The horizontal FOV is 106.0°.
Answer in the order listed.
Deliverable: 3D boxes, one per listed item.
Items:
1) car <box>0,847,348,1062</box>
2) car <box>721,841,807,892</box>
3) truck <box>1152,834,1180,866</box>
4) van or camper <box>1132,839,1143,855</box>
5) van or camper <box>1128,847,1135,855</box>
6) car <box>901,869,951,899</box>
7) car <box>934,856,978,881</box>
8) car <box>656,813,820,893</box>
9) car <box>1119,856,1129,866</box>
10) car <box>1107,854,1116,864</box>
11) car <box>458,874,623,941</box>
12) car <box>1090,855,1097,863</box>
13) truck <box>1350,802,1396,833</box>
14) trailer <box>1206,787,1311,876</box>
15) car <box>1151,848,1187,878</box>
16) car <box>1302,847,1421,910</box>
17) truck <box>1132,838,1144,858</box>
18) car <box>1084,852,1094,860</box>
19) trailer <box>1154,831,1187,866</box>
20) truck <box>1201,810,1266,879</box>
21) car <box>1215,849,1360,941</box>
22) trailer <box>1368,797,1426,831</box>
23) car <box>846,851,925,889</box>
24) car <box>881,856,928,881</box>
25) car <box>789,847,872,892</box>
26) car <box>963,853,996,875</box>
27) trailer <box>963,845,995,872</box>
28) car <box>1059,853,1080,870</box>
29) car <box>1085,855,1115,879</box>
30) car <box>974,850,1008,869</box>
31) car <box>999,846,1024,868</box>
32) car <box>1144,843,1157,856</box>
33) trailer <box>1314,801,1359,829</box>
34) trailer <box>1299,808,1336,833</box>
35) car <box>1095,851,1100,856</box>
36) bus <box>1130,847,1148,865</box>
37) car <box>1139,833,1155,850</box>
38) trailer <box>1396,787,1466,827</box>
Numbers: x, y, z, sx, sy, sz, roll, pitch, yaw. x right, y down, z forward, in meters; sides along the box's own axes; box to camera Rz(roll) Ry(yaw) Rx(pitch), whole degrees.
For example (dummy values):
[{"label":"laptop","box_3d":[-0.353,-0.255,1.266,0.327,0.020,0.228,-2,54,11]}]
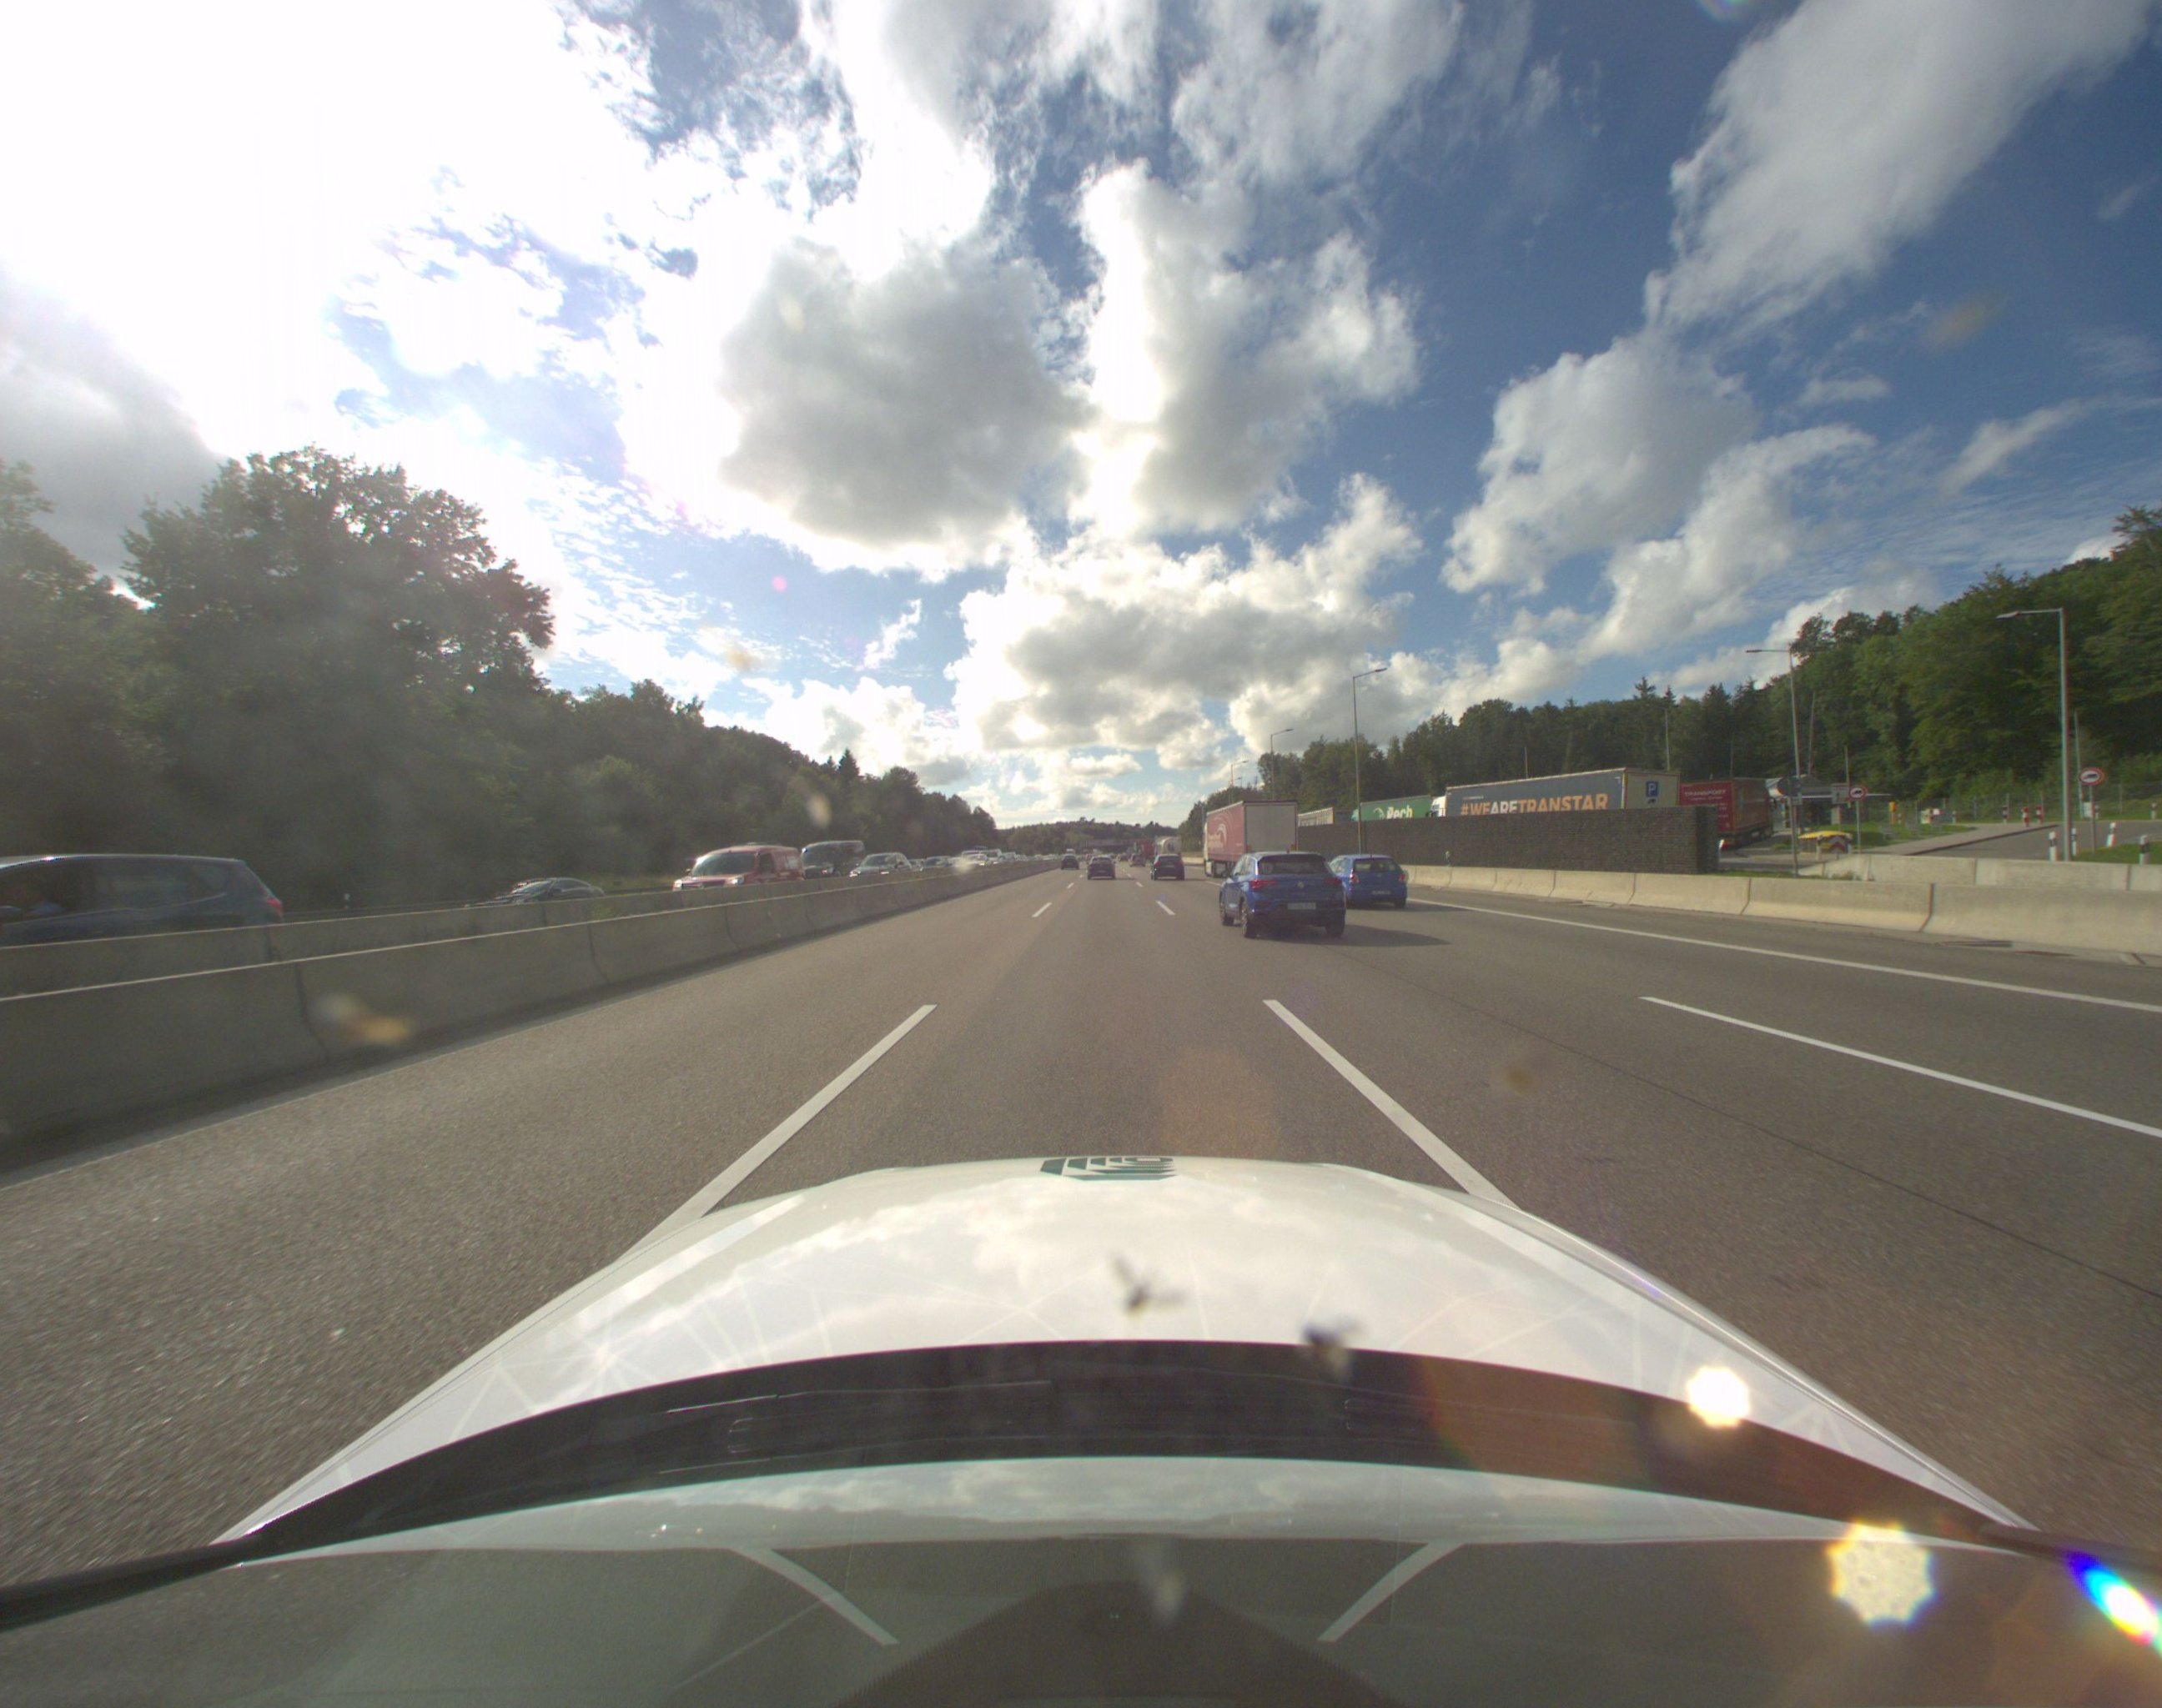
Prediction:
[{"label":"car","box_3d":[-9.745,0.849,7.462,1.850,1.763,4.461,-1,-1,3]},{"label":"car","box_3d":[-15.832,0.582,41.023,1.985,2.373,5.333,0,0,3]},{"label":"truck","box_3d":[11.347,-0.451,109.154,3.035,4.160,7.127,-1,-1,1]},{"label":"van or camper","box_3d":[11.994,-1.494,173.840,2.342,3.144,5.714,-1,-2,3]},{"label":"van or camper","box_3d":[15.879,-0.999,255.704,2.076,2.493,4.226,-1,0,2]},{"label":"car","box_3d":[-8.842,1.671,46.726,1.985,1.572,3.513,0,0,3]},{"label":"car","box_3d":[-8.174,0.943,53.668,1.985,1.572,4.360,0,0,3]},{"label":"car","box_3d":[-8.449,-0.012,20.696,1.869,1.762,5.294,-1,0,0]},{"label":"car","box_3d":[8.829,1.443,167.797,1.986,2.014,4.001,0,-1,2]},{"label":"car","box_3d":[7.200,1.195,192.660,1.986,2.014,4.001,-2,-2,1]},{"label":"car","box_3d":[-16.607,1.576,25.354,1.985,1.762,4.462,-1,0,3]},{"label":"car","box_3d":[3.305,1.323,216.032,1.987,2.014,3.999,-1,0,-1]},{"label":"truck","box_3d":[23.023,-2.848,64.420,2.037,2.014,4.783,-1,-2,3]},{"label":"trailer","box_3d":[9.237,-0.850,44.470,3.027,4.035,13.893,-1,-2,2]},{"label":"car","box_3d":[5.124,0.545,47.879,1.792,1.644,4.002,0,-1,2]},{"label":"car","box_3d":[7.653,0.662,22.675,1.710,1.511,4.299,-2,-1,-1]},{"label":"truck","box_3d":[11.653,-1.231,167.166,2.348,3.573,11.273,-1,-2,3]},{"label":"car","box_3d":[1.887,0.580,188.467,2.146,1.776,4.002,0,-1,2]},{"label":"trailer","box_3d":[11.190,-0.542,103.003,3.025,4.016,12.247,-1,-1,1]},{"label":"truck","box_3d":[9.455,-0.486,51.126,3.069,4.064,6.071,-1,-2,1]},{"label":"car","box_3d":[3.871,0.679,16.071,1.916,1.541,4.649,0,0,3]},{"label":"trailer","box_3d":[22.872,-2.839,59.169,1.987,2.014,5.775,-1,-2,1]},{"label":"car","box_3d":[-8.597,0.664,36.325,1.985,1.572,5.211,0,0,3]},{"label":"car","box_3d":[-11.590,0.906,53.777,1.985,1.572,4.360,0,0,3]},{"label":"car","box_3d":[-12.106,0.712,39.852,1.985,2.032,5.850,0,0,3]},{"label":"car","box_3d":[-7.631,0.735,61.607,1.758,1.572,4.360,0,0,3]},{"label":"trailer","box_3d":[-11.035,0.527,88.707,2.271,2.786,8.541,-1,0,1]},{"label":"car","box_3d":[-1.163,0.799,87.231,1.986,1.776,4.002,-2,0,2]},{"label":"car","box_3d":[1.160,0.846,51.450,1.729,1.365,3.998,-3,-1,-1]},{"label":"car","box_3d":[-7.677,0.455,69.870,1.985,1.572,5.333,1,0,3]},{"label":"car","box_3d":[-6.883,0.337,80.876,1.987,2.014,4.676,-1,-2,0]},{"label":"car","box_3d":[11.780,-0.809,138.975,1.986,2.014,4.001,-1,-2,2]},{"label":"trailer","box_3d":[23.172,-3.491,74.229,2.043,2.014,6.965,-1,-2,2]},{"label":"trailer","box_3d":[23.337,-3.285,80.719,2.037,2.014,6.007,-1,-2,2]},{"label":"car","box_3d":[5.269,-0.279,256.429,1.617,1.470,3.816,0,-1,2]},{"label":"bus","box_3d":[6.914,0.300,97.710,1.986,2.014,4.001,-1,-2,2]},{"label":"car","box_3d":[12.056,-2.248,149.282,2.855,2.992,5.152,-1,-2,3]},{"label":"trailer","box_3d":[22.762,-3.005,53.282,1.986,2.014,6.194,-1,-2,1]}]
